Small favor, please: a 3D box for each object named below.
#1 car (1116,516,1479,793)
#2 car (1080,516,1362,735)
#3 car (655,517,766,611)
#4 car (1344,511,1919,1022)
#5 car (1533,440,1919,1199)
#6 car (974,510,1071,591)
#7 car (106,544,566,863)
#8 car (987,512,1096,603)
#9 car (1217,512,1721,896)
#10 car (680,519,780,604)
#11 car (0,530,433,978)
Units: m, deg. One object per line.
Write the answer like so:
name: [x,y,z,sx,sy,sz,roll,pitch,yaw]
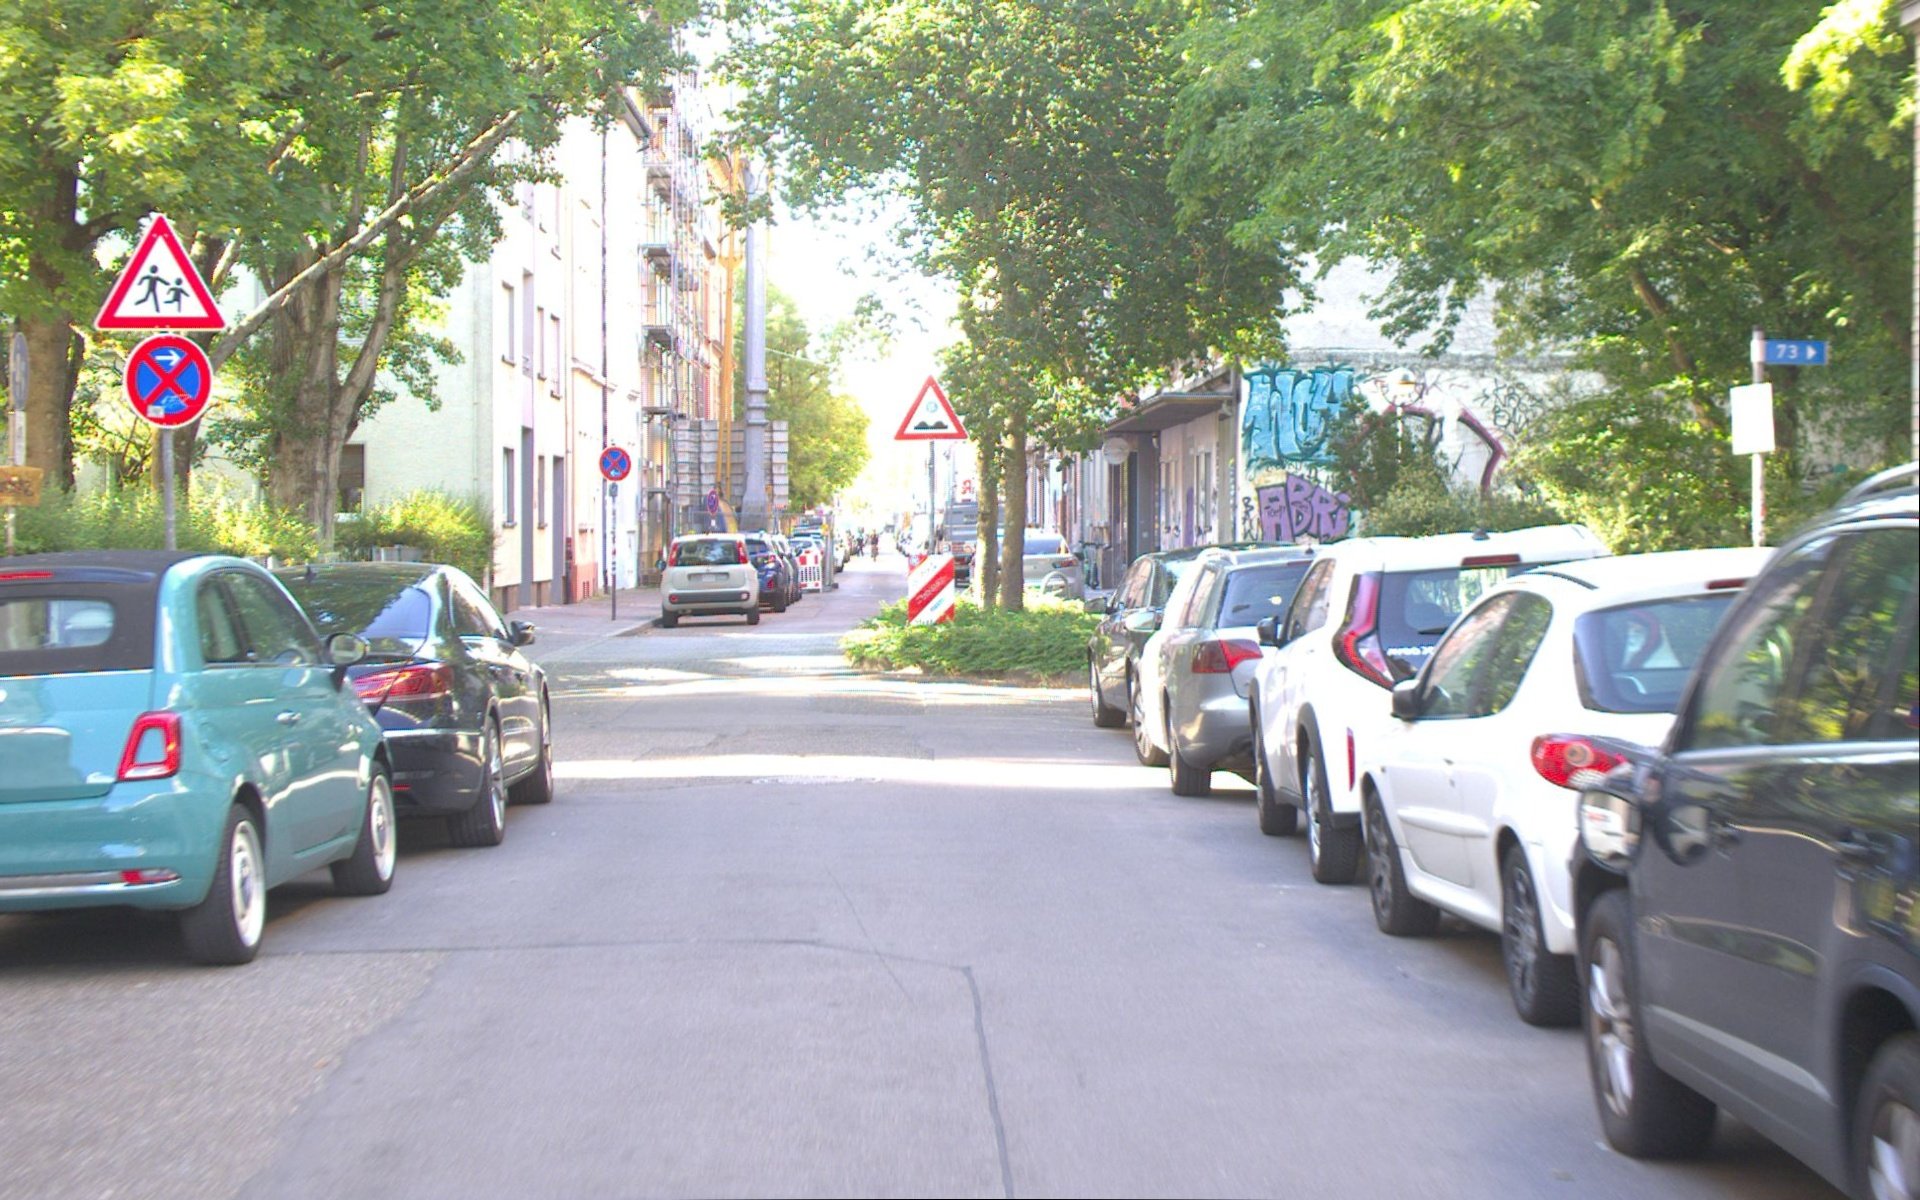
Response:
car: [1.978,0.256,21.210,1.675,1.482,4.095,-2,2,-2]
car: [1.906,0.129,26.211,1.675,1.482,4.095,-2,2,-2]
car: [-4.237,-0.643,58.859,1.675,1.482,4.095,-2,2,-2]
car: [2.408,0.452,12.100,1.566,1.478,3.620,-2,2,-2]
car: [2.385,0.539,7.087,1.676,1.676,4.095,-2,1,0]
car: [1.185,-0.983,66.613,1.675,1.482,3.638,-2,2,-2]
car: [-3.064,0.437,17.633,1.670,1.356,4.049,-2,2,-1]
car: [1.398,-0.762,60.105,1.675,1.482,3.638,-2,2,-2]
car: [2.279,0.386,16.310,1.675,1.556,3.796,-2,2,-2]
car: [-4.258,-0.745,64.093,1.675,1.482,4.095,-2,2,-2]
car: [-3.287,0.497,13.530,1.670,1.464,3.820,-2,2,2]
